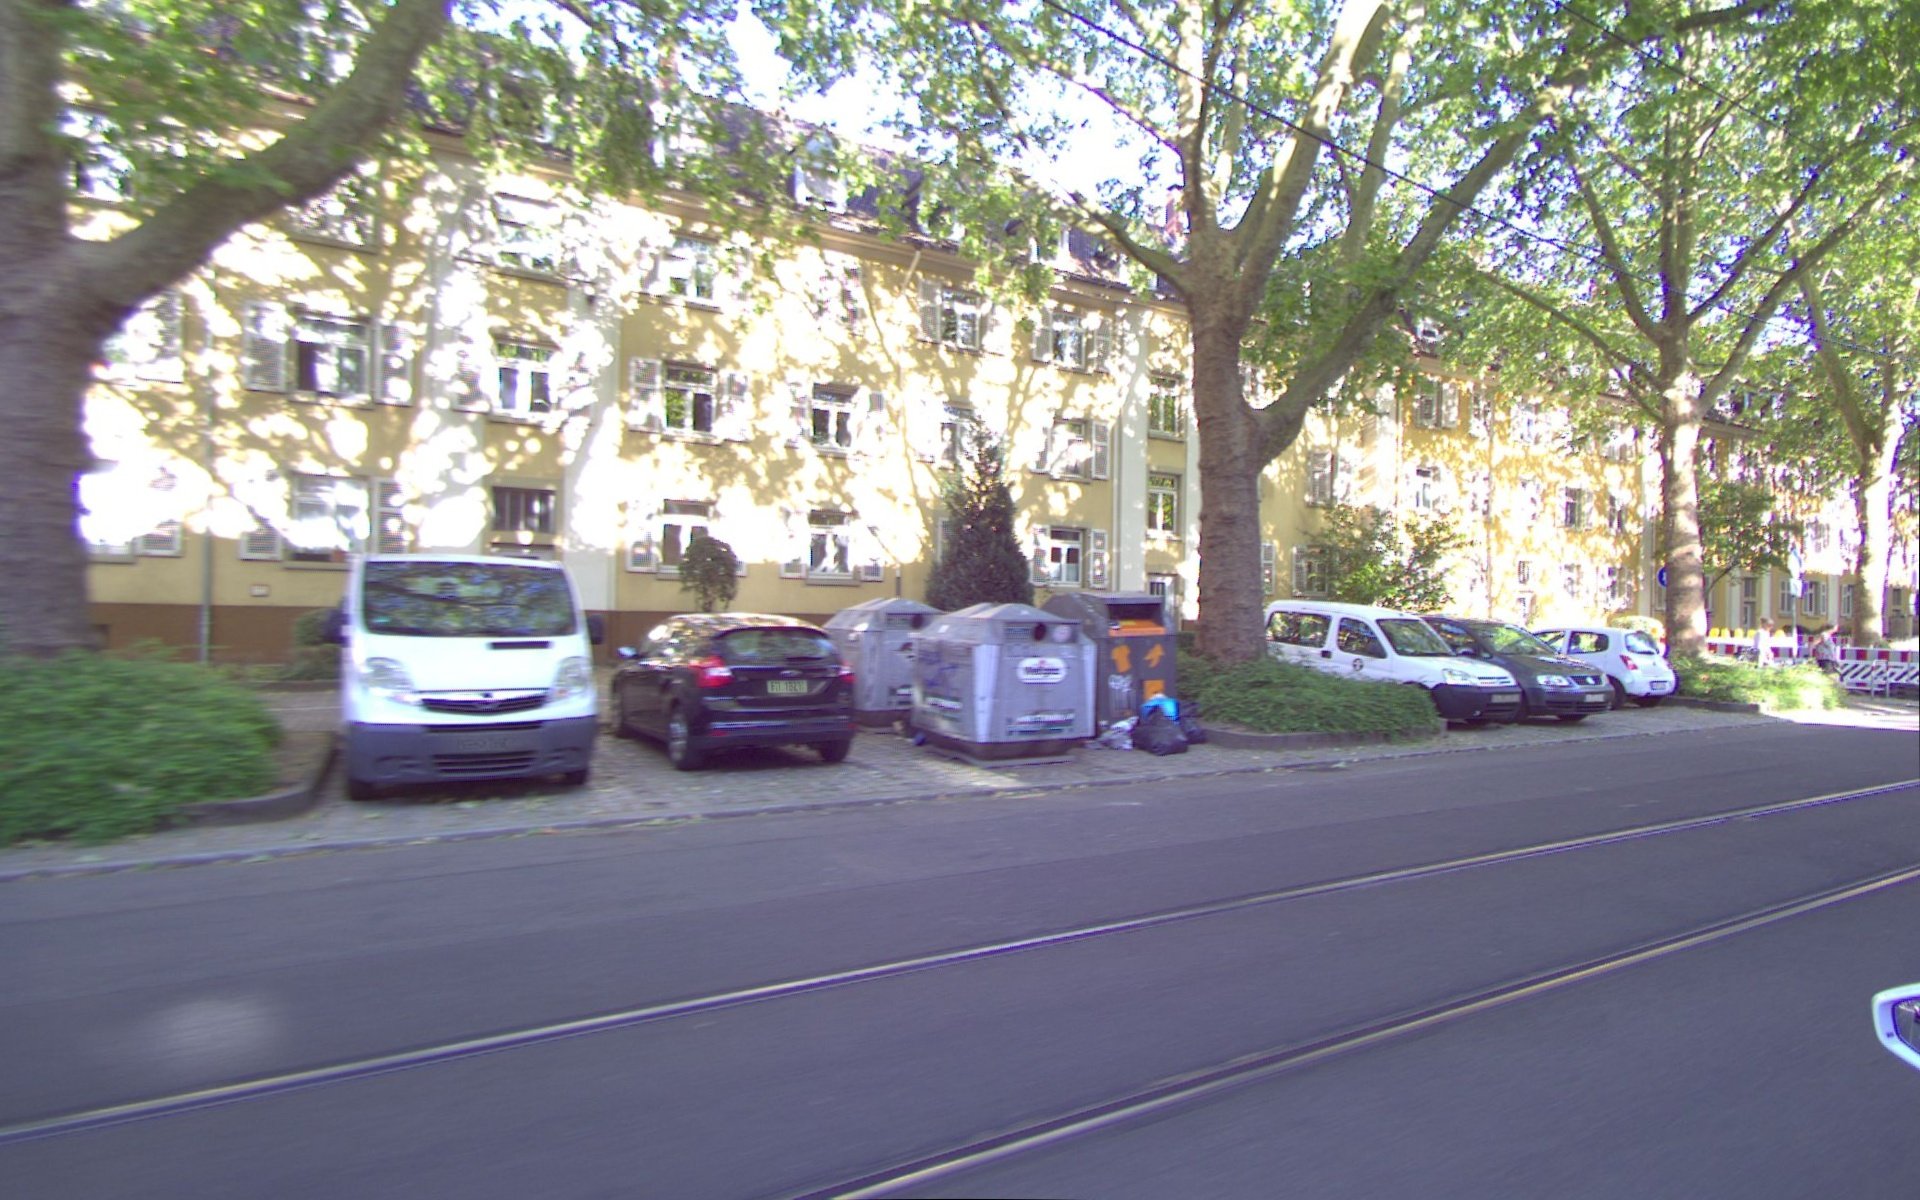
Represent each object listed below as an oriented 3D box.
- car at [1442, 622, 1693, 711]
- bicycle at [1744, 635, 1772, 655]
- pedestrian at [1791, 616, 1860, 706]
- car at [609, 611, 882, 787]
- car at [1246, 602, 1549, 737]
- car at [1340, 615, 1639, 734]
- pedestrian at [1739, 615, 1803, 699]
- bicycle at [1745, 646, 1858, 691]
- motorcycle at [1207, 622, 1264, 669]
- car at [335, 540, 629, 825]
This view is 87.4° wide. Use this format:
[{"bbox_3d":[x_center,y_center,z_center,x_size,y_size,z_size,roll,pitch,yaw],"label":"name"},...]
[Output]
[{"bbox_3d":[11.708,1.215,19.613,1.840,1.517,3.831,1,-1,-29],"label":"car"},{"bbox_3d":[34.379,1.936,43.267,1.627,0.829,0.503,1,-1,-34],"label":"bicycle"},{"bbox_3d":[17.688,1.229,20.524,0.787,1.768,0.818,2,0,-30],"label":"pedestrian"},{"bbox_3d":[-2.468,0.899,10.801,1.840,1.517,3.831,1,-1,-29],"label":"car"},{"bbox_3d":[6.639,0.952,15.731,1.718,1.781,4.181,1,0,-28],"label":"car"},{"bbox_3d":[8.628,1.125,16.814,1.905,1.710,4.226,1,-1,-22],"label":"car"},{"bbox_3d":[17.842,1.239,22.106,0.787,1.768,0.818,2,0,-30],"label":"pedestrian"},{"bbox_3d":[20.064,1.615,23.995,0.717,0.975,1.964,1,-1,-28],"label":"bicycle"},{"bbox_3d":[7.699,1.261,28.116,0.516,1.257,1.703,1,-1,-27],"label":"motorcycle"},{"bbox_3d":[-4.705,0.577,9.442,1.940,1.971,4.630,1,0,-32],"label":"car"}]
